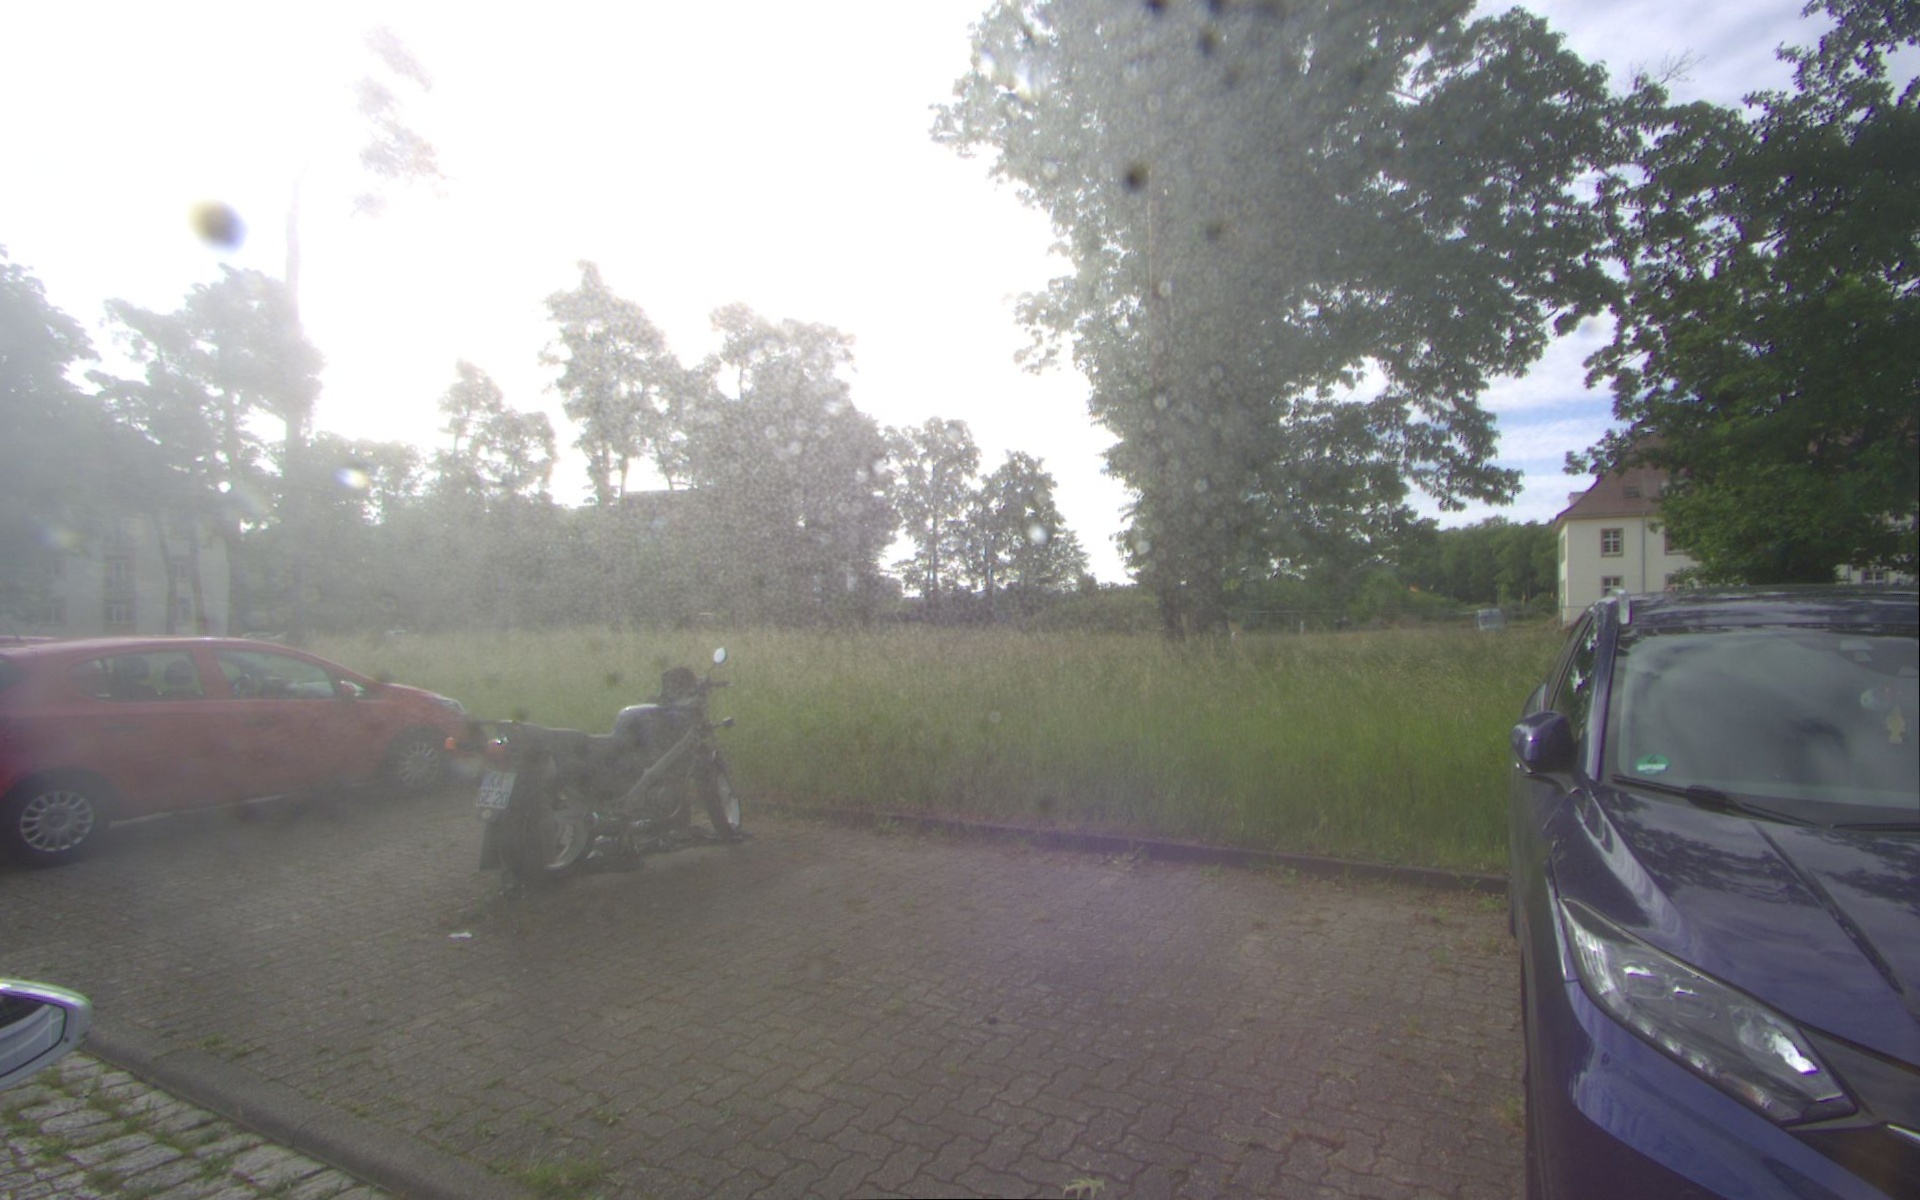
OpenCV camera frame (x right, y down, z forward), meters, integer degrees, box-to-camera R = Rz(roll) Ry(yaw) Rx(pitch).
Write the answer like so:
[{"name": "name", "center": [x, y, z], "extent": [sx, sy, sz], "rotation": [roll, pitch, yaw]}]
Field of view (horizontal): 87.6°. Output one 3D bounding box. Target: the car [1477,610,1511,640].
[{"name": "car", "center": [43.466, 2.057, 81.602], "extent": [1.884, 2.378, 4.588], "rotation": [-1, -2, 21]}]

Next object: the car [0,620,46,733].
[{"name": "car", "center": [-14.879, 1.100, 13.041], "extent": [1.723, 1.573, 4.026], "rotation": [-1, 0, 27]}]

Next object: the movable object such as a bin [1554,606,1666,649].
[{"name": "movable object such as a bin", "center": [42.498, 1.831, 65.554], "extent": [5.912, 2.689, 2.158], "rotation": [-2, -2, 42]}]

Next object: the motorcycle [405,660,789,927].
[{"name": "motorcycle", "center": [-2.073, 1.031, 6.180], "extent": [0.783, 1.201, 2.326], "rotation": [-1, 0, 26]}]

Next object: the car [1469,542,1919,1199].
[{"name": "car", "center": [2.623, 0.737, 3.030], "extent": [1.766, 1.591, 4.158], "rotation": [-2, -2, 29]}]

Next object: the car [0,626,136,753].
[{"name": "car", "center": [-12.511, 1.112, 11.927], "extent": [1.725, 1.479, 3.787], "rotation": [-1, 0, 29]}]

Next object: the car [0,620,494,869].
[{"name": "car", "center": [-6.064, 0.963, 8.143], "extent": [1.752, 1.479, 3.821], "rotation": [-1, 0, 28]}]
